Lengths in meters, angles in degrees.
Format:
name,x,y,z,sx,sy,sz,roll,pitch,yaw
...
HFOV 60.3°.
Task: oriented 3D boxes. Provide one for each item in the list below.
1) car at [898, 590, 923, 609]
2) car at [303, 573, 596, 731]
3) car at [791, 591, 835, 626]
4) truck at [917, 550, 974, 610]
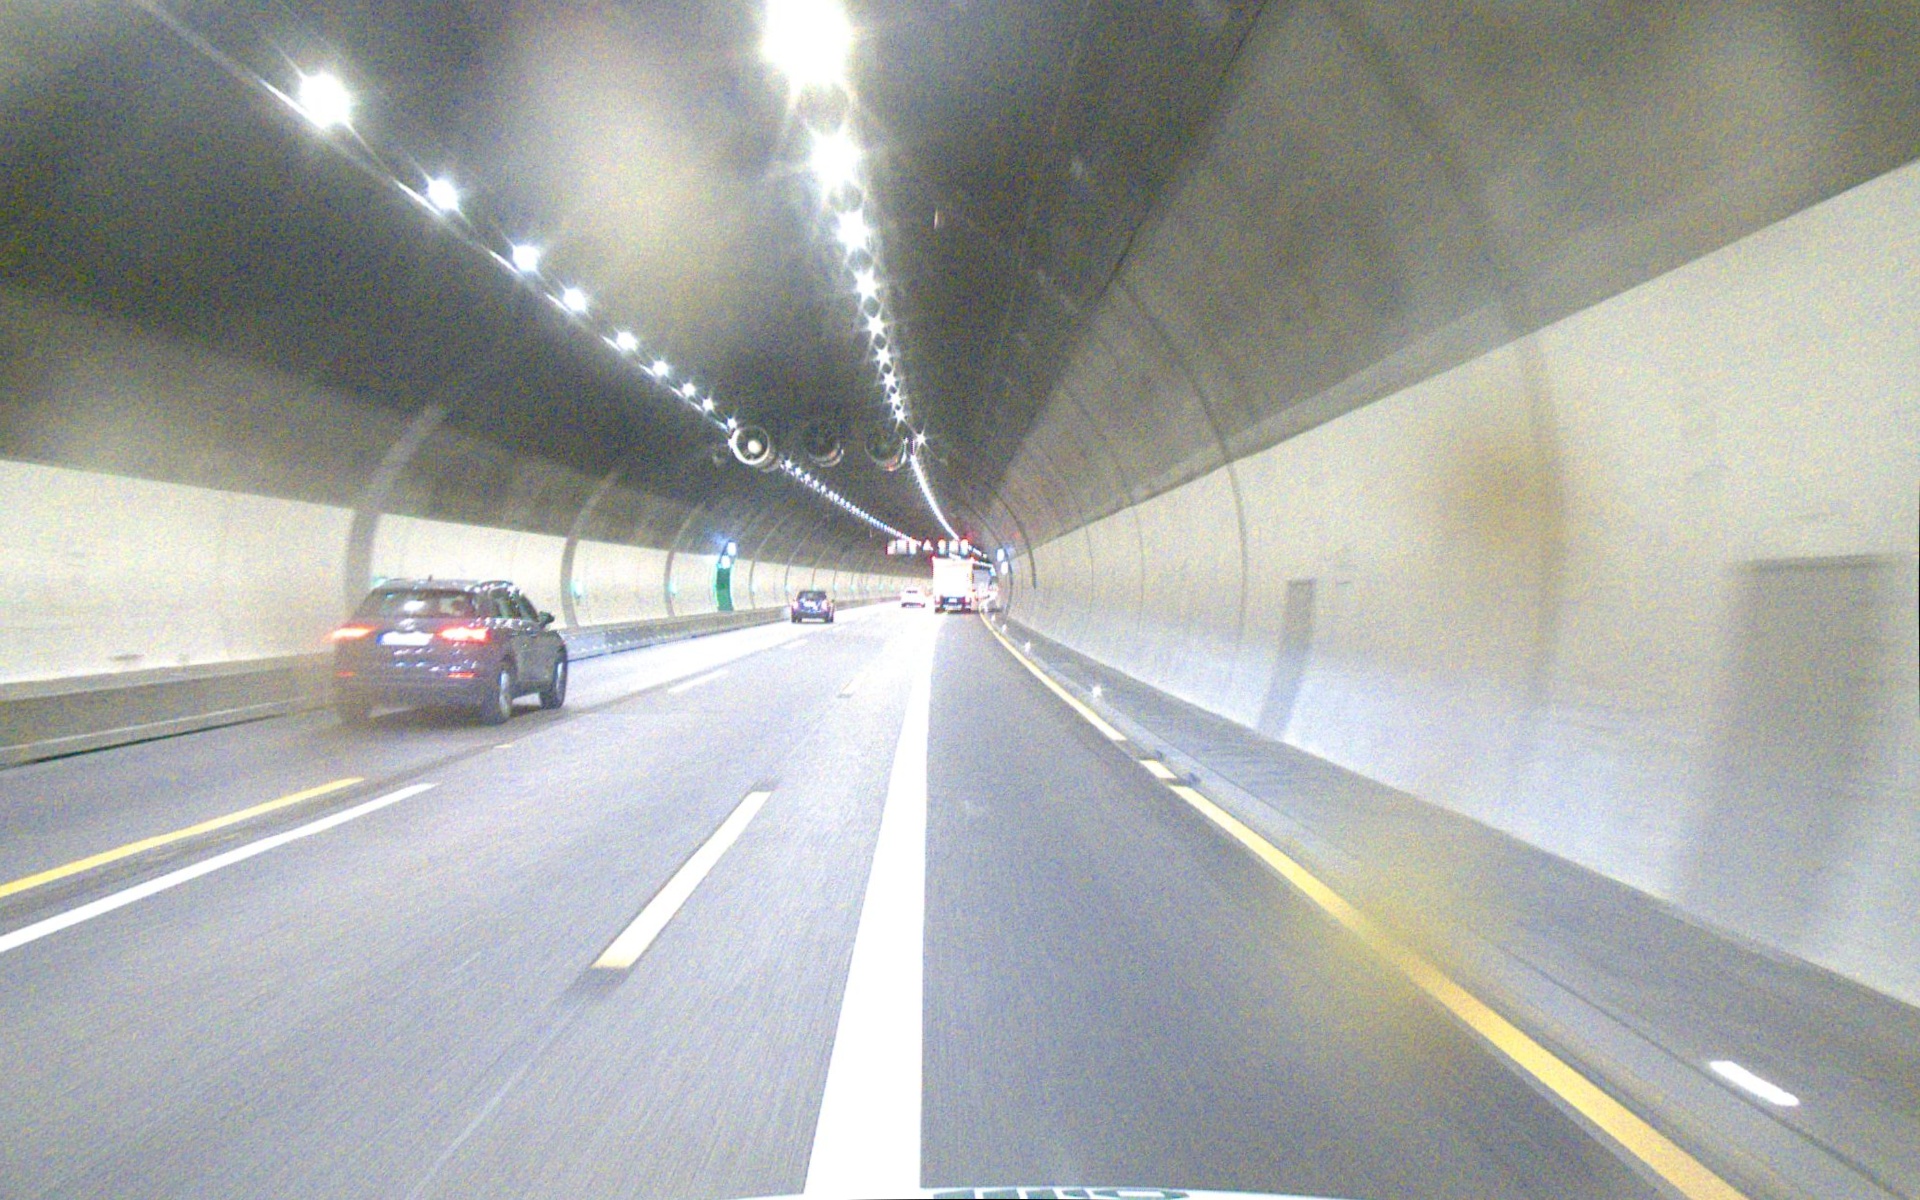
name,x,y,z,sx,sy,sz,roll,pitch,yaw
car,-3.938,-0.082,131.557,1.953,1.437,4.741,2,0,-2
car,-5.768,0.538,19.391,1.953,1.567,4.742,2,0,-1
car,-6.477,0.373,73.328,1.655,1.442,3.922,2,0,-1
truck,-0.997,-1.289,109.816,3.520,3.714,10.720,2,0,-1
